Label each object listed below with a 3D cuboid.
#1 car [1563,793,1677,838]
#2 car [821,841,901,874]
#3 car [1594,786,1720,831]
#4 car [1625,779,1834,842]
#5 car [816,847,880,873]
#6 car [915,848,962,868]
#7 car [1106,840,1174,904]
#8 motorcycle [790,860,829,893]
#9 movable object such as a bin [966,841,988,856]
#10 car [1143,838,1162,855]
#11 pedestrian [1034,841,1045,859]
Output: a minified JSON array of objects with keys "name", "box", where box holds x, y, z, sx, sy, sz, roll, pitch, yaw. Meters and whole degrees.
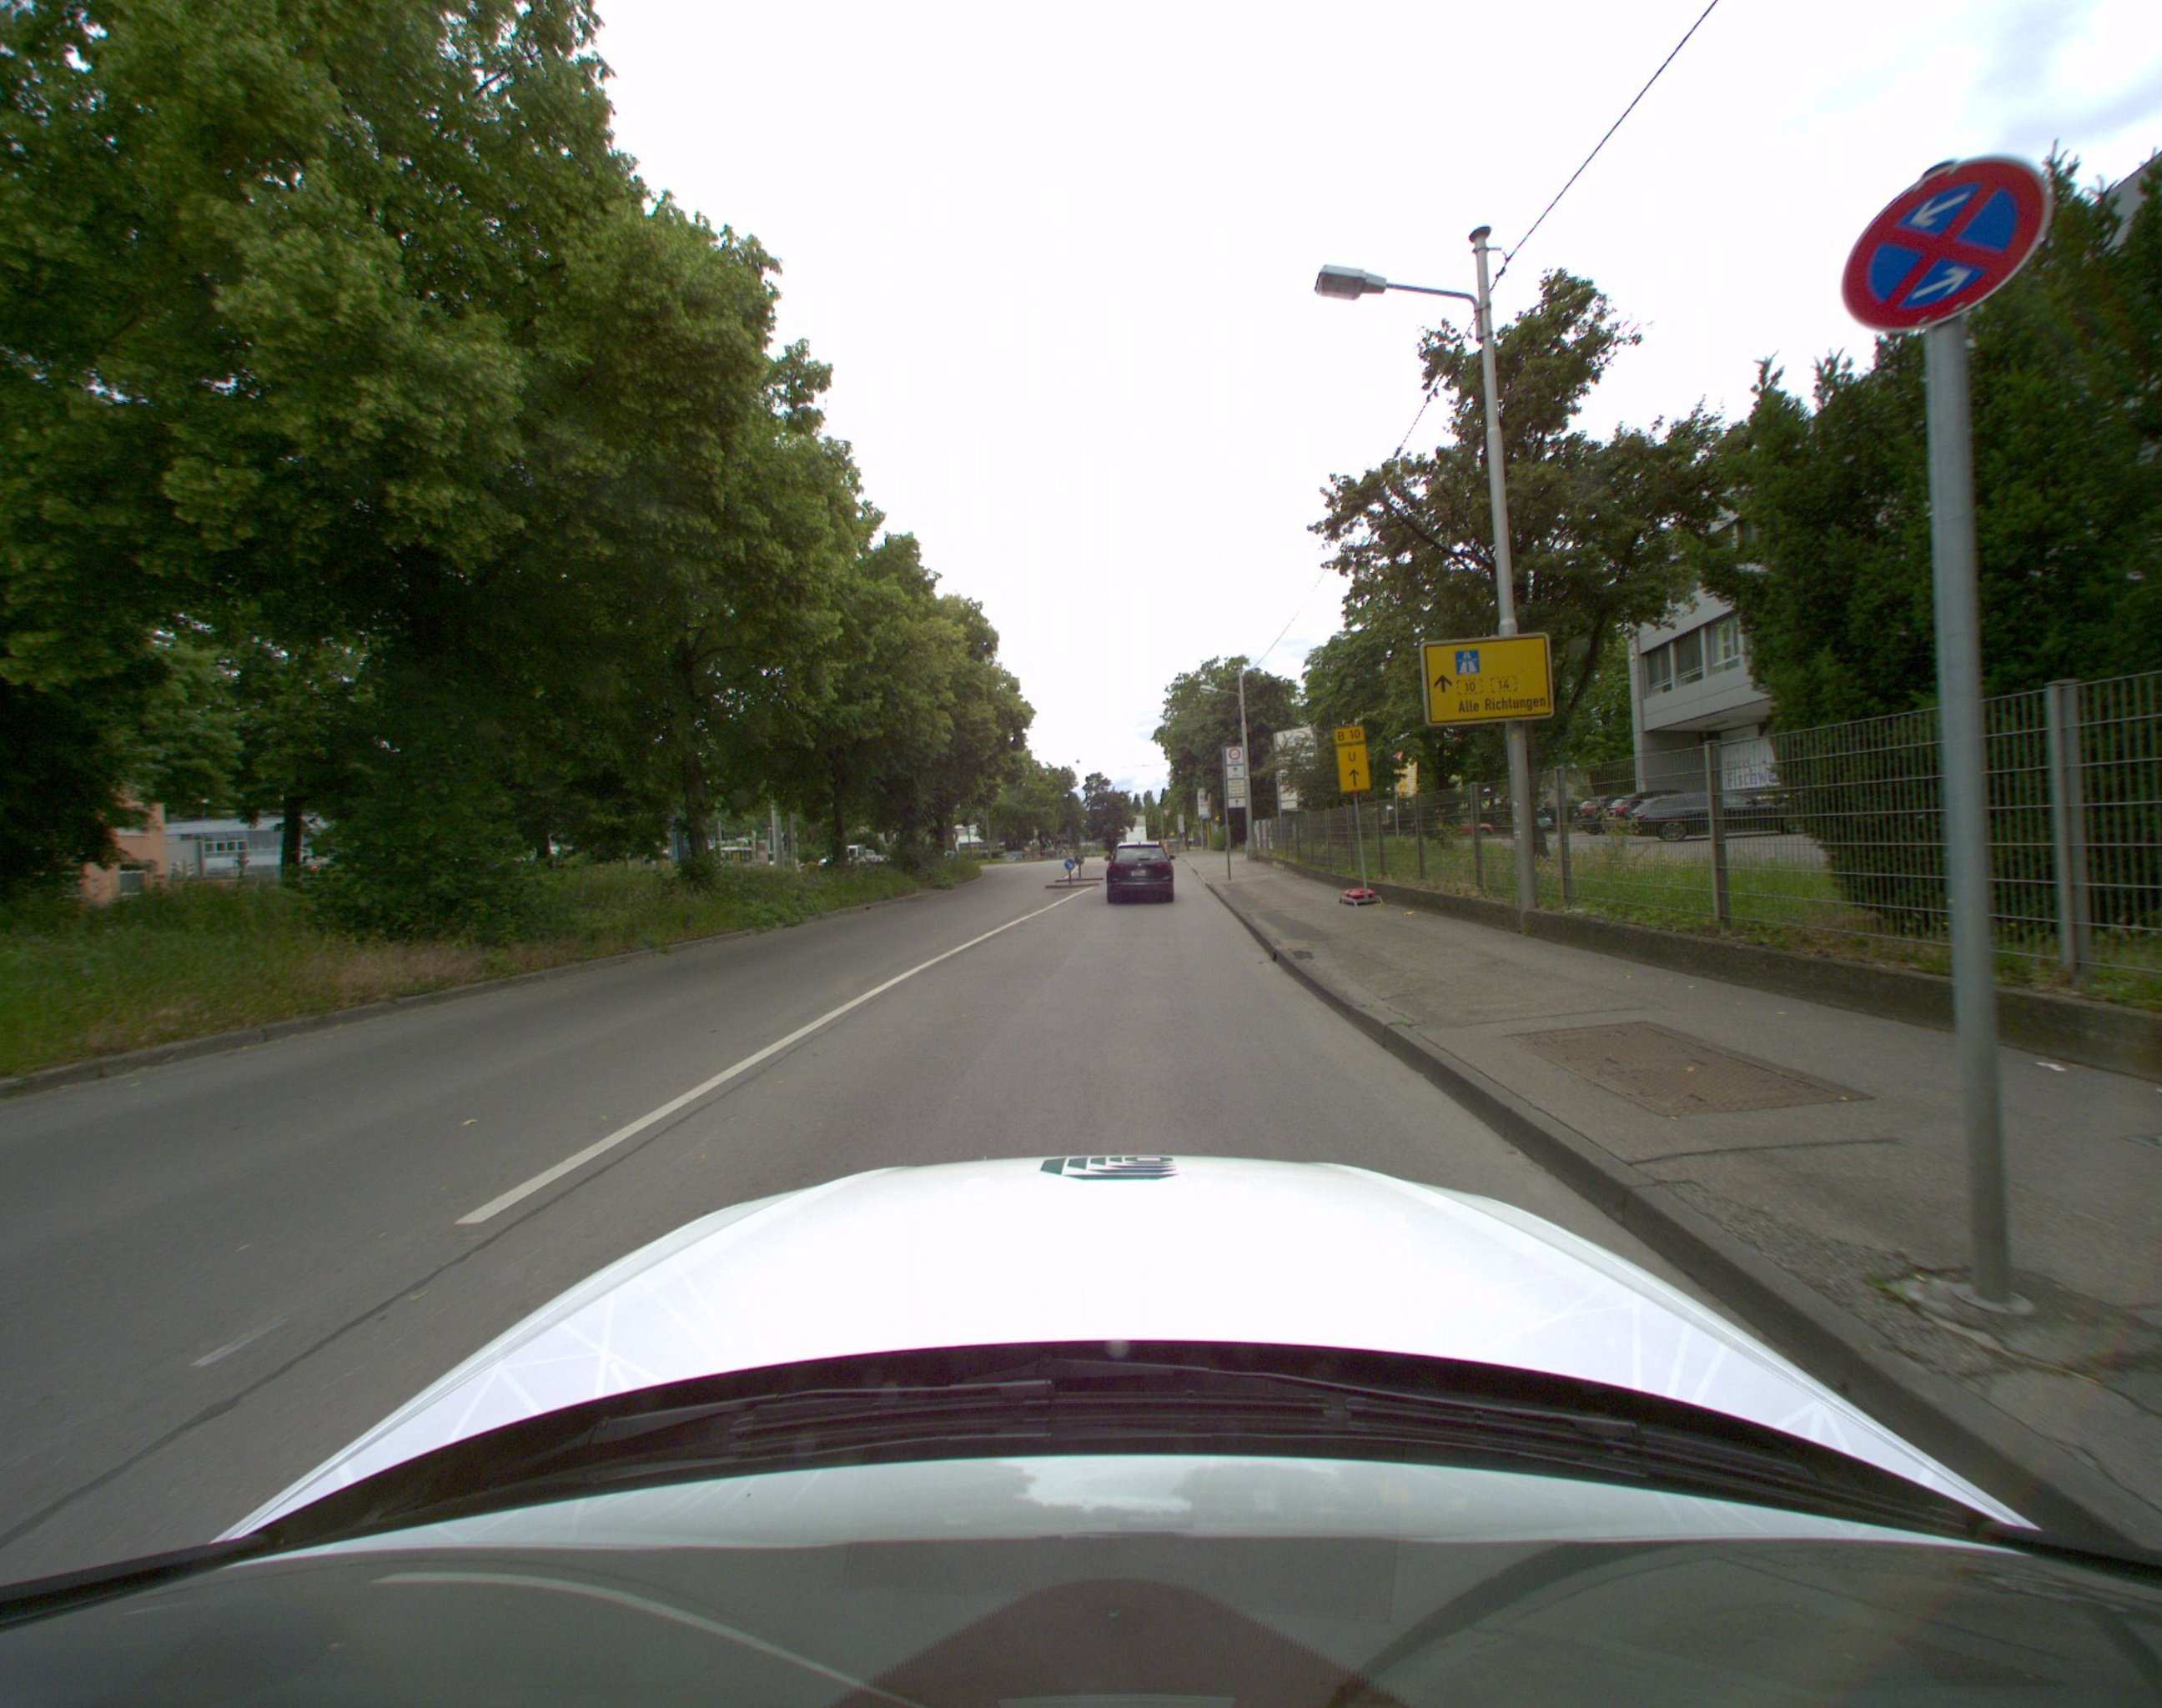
[{"name":"car","box":[23.587,-1.680,35.778,3.678,1.673,1.864,-3,1,10]},{"name":"car","box":[-18.708,0.244,69.463,6.055,2.387,2.393,-4,1,-2]},{"name":"car","box":[23.053,-1.791,32.724,3.678,1.534,1.835,-3,1,10]},{"name":"car","box":[19.784,-1.289,25.194,4.797,1.534,2.037,-3,1,32]},{"name":"car","box":[-20.865,0.520,73.078,4.948,1.942,2.054,-3,1,9]},{"name":"car","box":[-12.196,0.337,69.831,3.621,1.409,1.728,-4,1,-24]},{"name":"car","box":[1.613,0.434,22.887,1.732,1.618,3.644,-1,1,3]},{"name":"motorcycle","box":[-10.803,0.886,32.462,0.562,1.168,2.040,-4,1,8]},{"name":"movable object such as a bin","box":[-14.838,-0.797,116.395,1.975,2.013,2.414,-3,1,26]},{"name":"car","box":[7.446,-0.773,84.142,1.650,1.574,3.837,-4,0,8]},{"name":"pedestrian","box":[-4.187,-0.360,81.564,0.732,1.741,0.734,-4,1,-45]}]
